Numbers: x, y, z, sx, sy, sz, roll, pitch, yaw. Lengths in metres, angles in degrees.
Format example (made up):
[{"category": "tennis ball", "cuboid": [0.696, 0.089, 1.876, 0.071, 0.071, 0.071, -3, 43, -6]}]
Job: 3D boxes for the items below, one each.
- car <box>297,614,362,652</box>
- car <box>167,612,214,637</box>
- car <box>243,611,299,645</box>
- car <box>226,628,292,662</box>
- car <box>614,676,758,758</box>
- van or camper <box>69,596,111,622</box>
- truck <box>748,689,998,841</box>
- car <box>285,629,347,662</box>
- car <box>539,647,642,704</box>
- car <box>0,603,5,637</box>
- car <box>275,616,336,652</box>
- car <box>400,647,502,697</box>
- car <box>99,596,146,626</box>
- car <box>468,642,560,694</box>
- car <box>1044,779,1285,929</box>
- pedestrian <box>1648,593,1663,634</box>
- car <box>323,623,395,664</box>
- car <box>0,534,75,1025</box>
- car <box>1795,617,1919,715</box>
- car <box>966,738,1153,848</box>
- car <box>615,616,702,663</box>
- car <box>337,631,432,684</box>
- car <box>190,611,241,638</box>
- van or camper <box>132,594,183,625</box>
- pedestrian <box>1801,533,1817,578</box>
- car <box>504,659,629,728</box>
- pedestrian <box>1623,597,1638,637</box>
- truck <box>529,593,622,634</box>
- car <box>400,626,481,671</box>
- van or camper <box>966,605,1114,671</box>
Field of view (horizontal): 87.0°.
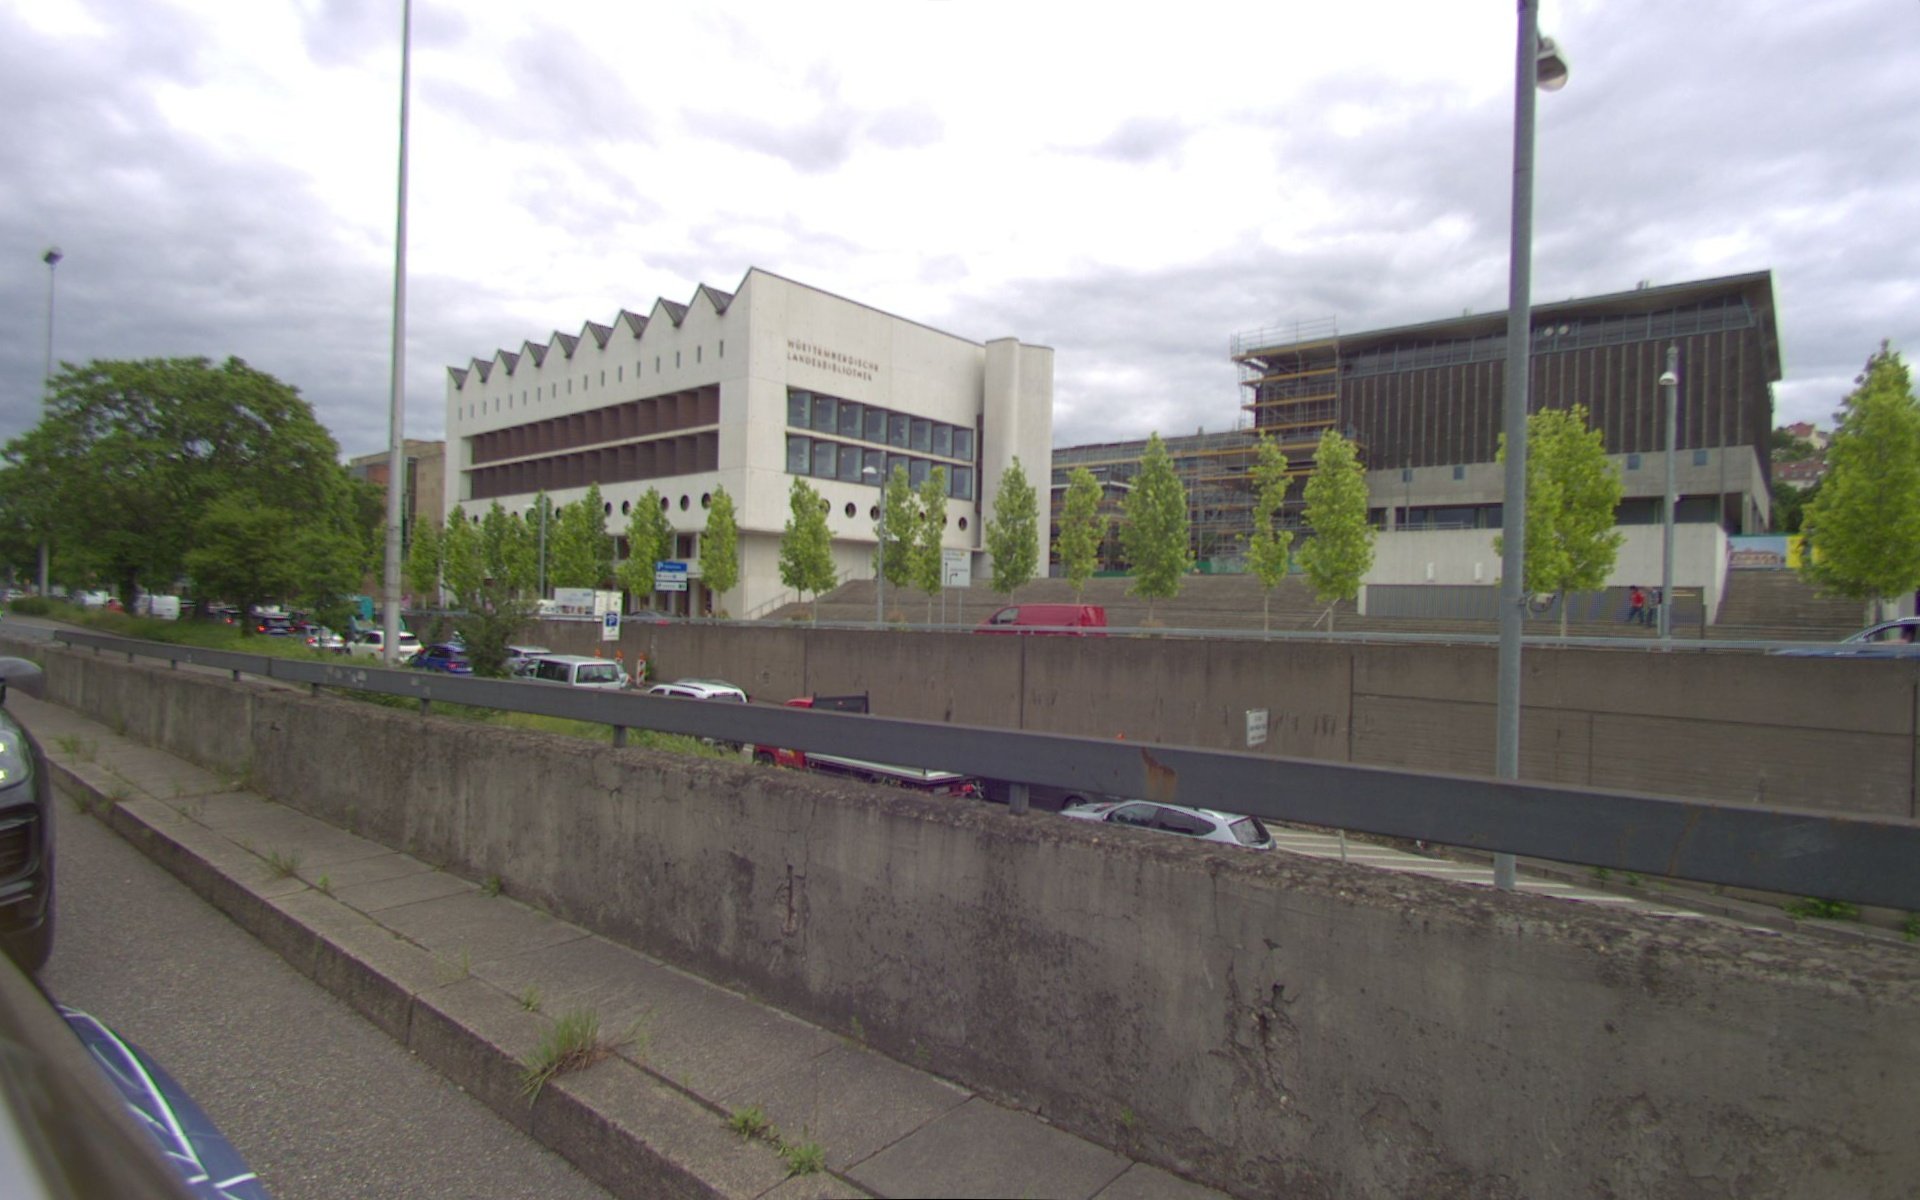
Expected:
[{"category": "car", "cuboid": [-36.082, 1.891, 57.858, 3.998, 2.029, 1.973, -2, -5, 41]}, {"category": "car", "cuboid": [-46.947, 1.504, 61.722, 3.360, 1.497, 1.653, -2, -1, 41]}, {"category": "car", "cuboid": [-44.190, 1.793, 64.894, 3.998, 2.029, 1.973, -2, -5, 41]}, {"category": "car", "cuboid": [-37.122, 2.345, 53.570, 3.998, 1.672, 1.973, -2, -1, 41]}, {"category": "car", "cuboid": [-7.764, 3.217, 28.540, 3.998, 2.029, 1.973, -2, -5, 41]}, {"category": "van or camper", "cuboid": [-69.356, 0.741, 80.653, 3.998, 2.029, 2.010, -2, -1, 41]}, {"category": "truck", "cuboid": [-2.156, 3.619, 23.494, 5.976, 2.711, 2.294, -2, -1, 42]}, {"category": "car", "cuboid": [-31.032, 2.154, 48.744, 3.360, 1.497, 1.653, -1, -2, 41]}, {"category": "car", "cuboid": [-14.258, 2.870, 38.976, 3.998, 2.029, 1.973, -2, -5, 41]}, {"category": "car", "cuboid": [-60.797, 1.265, 62.678, 3.998, 2.029, 1.973, -3, -3, 41]}, {"category": "car", "cuboid": [-39.196, 2.042, 60.605, 3.998, 2.029, 1.973, -2, -5, 41]}, {"category": "car", "cuboid": [-19.601, 2.755, 38.928, 4.279, 1.757, 1.973, -2, -5, 41]}, {"category": "car", "cuboid": [-61.603, 0.827, 74.464, 3.998, 2.028, 1.973, -2, 2, 41]}, {"category": "car", "cuboid": [-18.852, 2.858, 42.730, 3.998, 2.029, 1.973, -2, -5, 41]}, {"category": "car", "cuboid": [3.649, 4.475, 18.410, 3.925, 1.829, 1.771, -2, -1, 40]}, {"category": "pedestrian", "cuboid": [26.343, 0.506, 38.343, 0.461, 1.533, 0.377, -1, 0, 35]}, {"category": "car", "cuboid": [-32.344, 2.305, 54.411, 4.653, 2.029, 1.973, -2, -1, 41]}, {"category": "car", "cuboid": [-5.560, 0.663, 4.457, 4.677, 1.690, 1.913, -2, -1, 41]}, {"category": "car", "cuboid": [18.844, 1.243, 19.641, 3.998, 1.829, 1.973, -2, -2, 41]}, {"category": "car", "cuboid": [2.257, 4.330, 23.294, 3.861, 1.829, 1.974, -1, -2, 39]}, {"category": "car", "cuboid": [-14.083, 1.801, 47.187, 3.996, 2.029, 1.974, -1, 0, 40]}, {"category": "car", "cuboid": [-24.795, 2.444, 43.520, 4.849, 2.148, 1.973, -2, -5, 41]}, {"category": "car", "cuboid": [-42.076, 1.392, 57.192, 3.360, 1.497, 1.653, -2, -1, 41]}, {"category": "van or camper", "cuboid": [-53.792, 0.653, 67.840, 3.998, 2.029, 2.010, -2, -1, 41]}, {"category": "pedestrian", "cuboid": [36.074, -1.870, 43.015, 0.461, 1.881, 0.377, -1, 0, 35]}, {"category": "car", "cuboid": [-12.912, 3.011, 33.117, 4.330, 2.029, 1.973, -2, -5, 41]}, {"category": "pedestrian", "cuboid": [25.975, 0.671, 39.203, 0.461, 1.533, 0.377, -1, 0, 35]}, {"category": "truck", "cuboid": [-21.196, 0.752, 55.660, 5.606, 2.174, 1.979, -1, -1, 35]}, {"category": "car", "cuboid": [-24.334, 2.262, 47.388, 3.998, 2.029, 1.973, -2, -5, 41]}, {"category": "van or camper", "cuboid": [2.589, 1.234, 33.318, 4.551, 2.029, 1.974, -2, -2, 38]}]
